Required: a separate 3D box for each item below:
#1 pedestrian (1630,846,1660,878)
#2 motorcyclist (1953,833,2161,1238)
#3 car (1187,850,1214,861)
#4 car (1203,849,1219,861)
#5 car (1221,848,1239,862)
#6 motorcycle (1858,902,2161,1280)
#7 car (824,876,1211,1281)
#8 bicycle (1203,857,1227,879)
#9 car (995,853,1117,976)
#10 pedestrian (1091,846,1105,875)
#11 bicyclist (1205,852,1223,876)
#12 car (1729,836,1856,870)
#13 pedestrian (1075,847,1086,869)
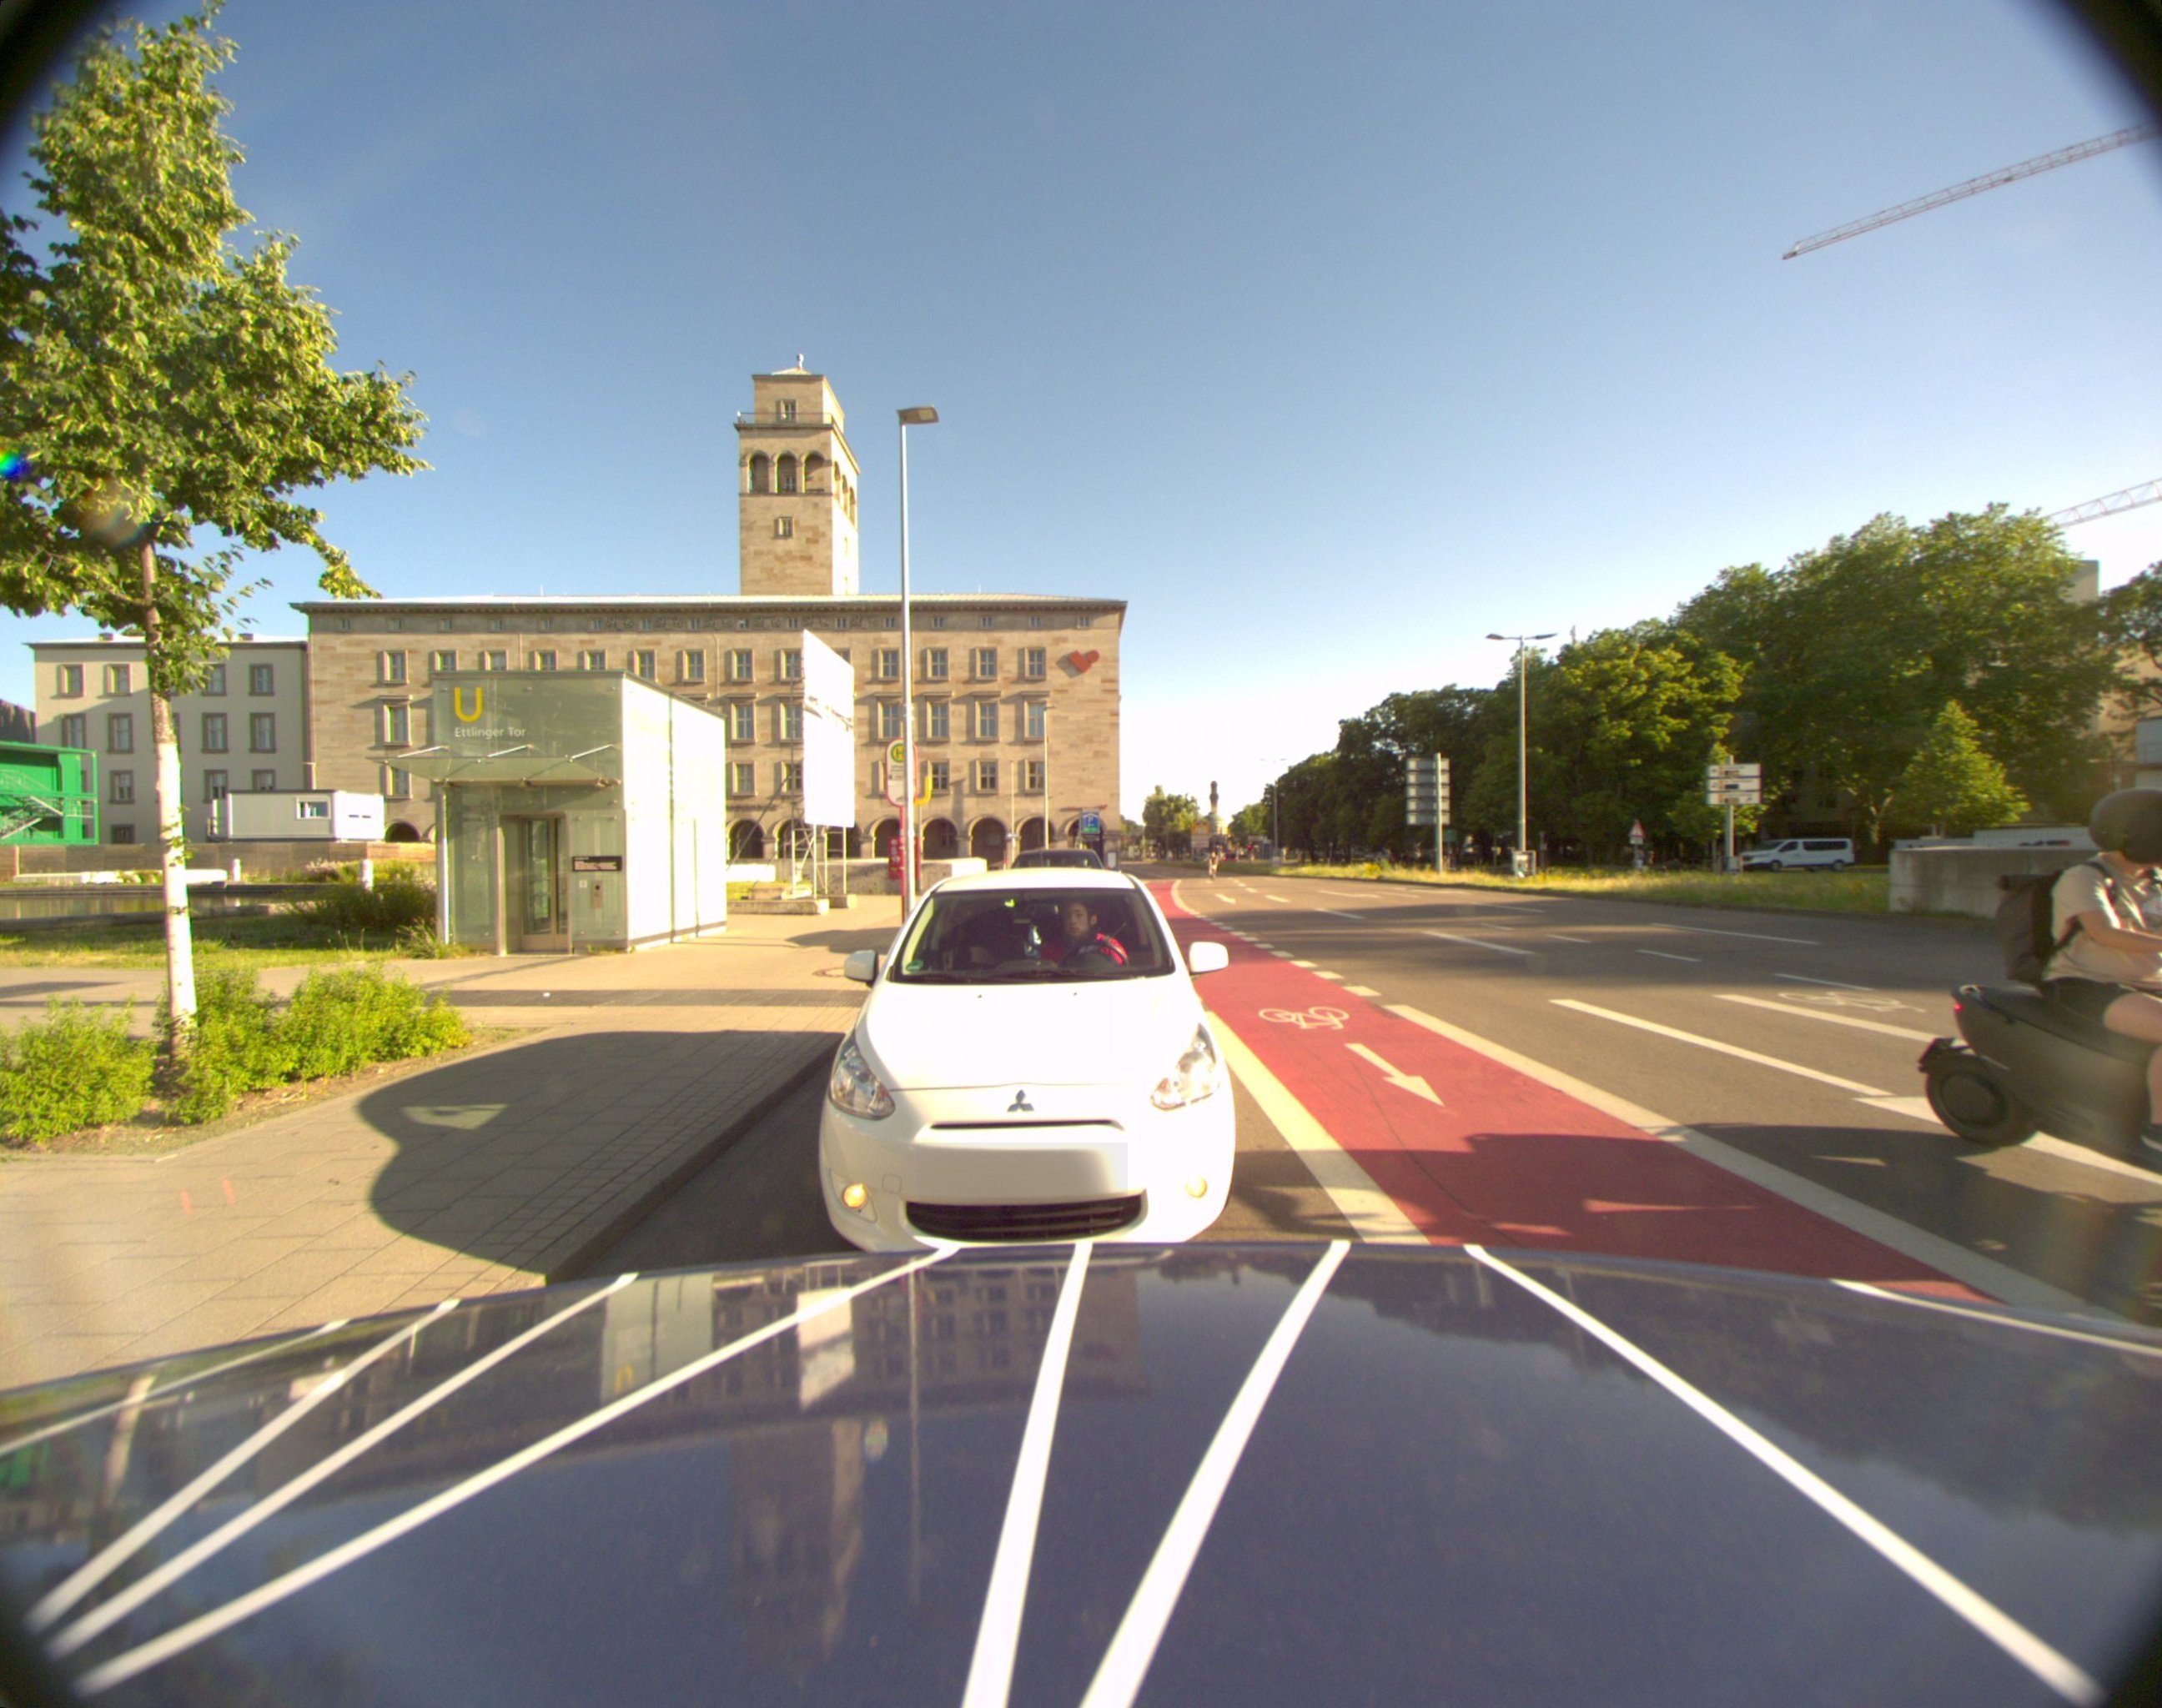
[{"bbox_3d":[33.468,0.482,45.113,0.989,1.821,1.019,-2,1,-3],"label":"pedestrian"},{"bbox_3d":[4.279,0.655,2.941,0.727,1.466,0.917,-2,0,1],"label":"motorcyclist"},{"bbox_3d":[22.379,0.300,142.753,4.573,1.827,1.881,-2,1,33],"label":"car"},{"bbox_3d":[20.594,0.106,120.442,1.747,1.778,3.947,-2,1,1],"label":"car"},{"bbox_3d":[21.600,0.110,110.213,1.819,1.817,3.999,-2,1,1],"label":"car"},{"bbox_3d":[4.287,0.899,2.888,0.724,1.286,1.884,-2,0,1],"label":"motorcycle"},{"bbox_3d":[-0.230,0.954,4.842,1.496,1.477,3.604,-2,0,1],"label":"car"},{"bbox_3d":[7.585,0.777,43.194,0.854,1.109,2.808,-2,0,1],"label":"bicycle"},{"bbox_3d":[-0.369,0.839,12.521,1.642,1.653,3.849,-2,0,-1],"label":"car"},{"bbox_3d":[1.514,0.583,67.975,1.122,2.524,1.055,-2,1,1],"label":"pedestrian"},{"bbox_3d":[7.580,0.552,43.241,0.854,1.340,0.829,-2,1,1],"label":"bicyclist"},{"bbox_3d":[42.139,-0.058,45.111,5.516,1.924,2.065,-1,1,2],"label":"car"},{"bbox_3d":[-0.025,0.434,86.244,1.122,2.524,1.055,-2,1,1],"label":"pedestrian"}]
